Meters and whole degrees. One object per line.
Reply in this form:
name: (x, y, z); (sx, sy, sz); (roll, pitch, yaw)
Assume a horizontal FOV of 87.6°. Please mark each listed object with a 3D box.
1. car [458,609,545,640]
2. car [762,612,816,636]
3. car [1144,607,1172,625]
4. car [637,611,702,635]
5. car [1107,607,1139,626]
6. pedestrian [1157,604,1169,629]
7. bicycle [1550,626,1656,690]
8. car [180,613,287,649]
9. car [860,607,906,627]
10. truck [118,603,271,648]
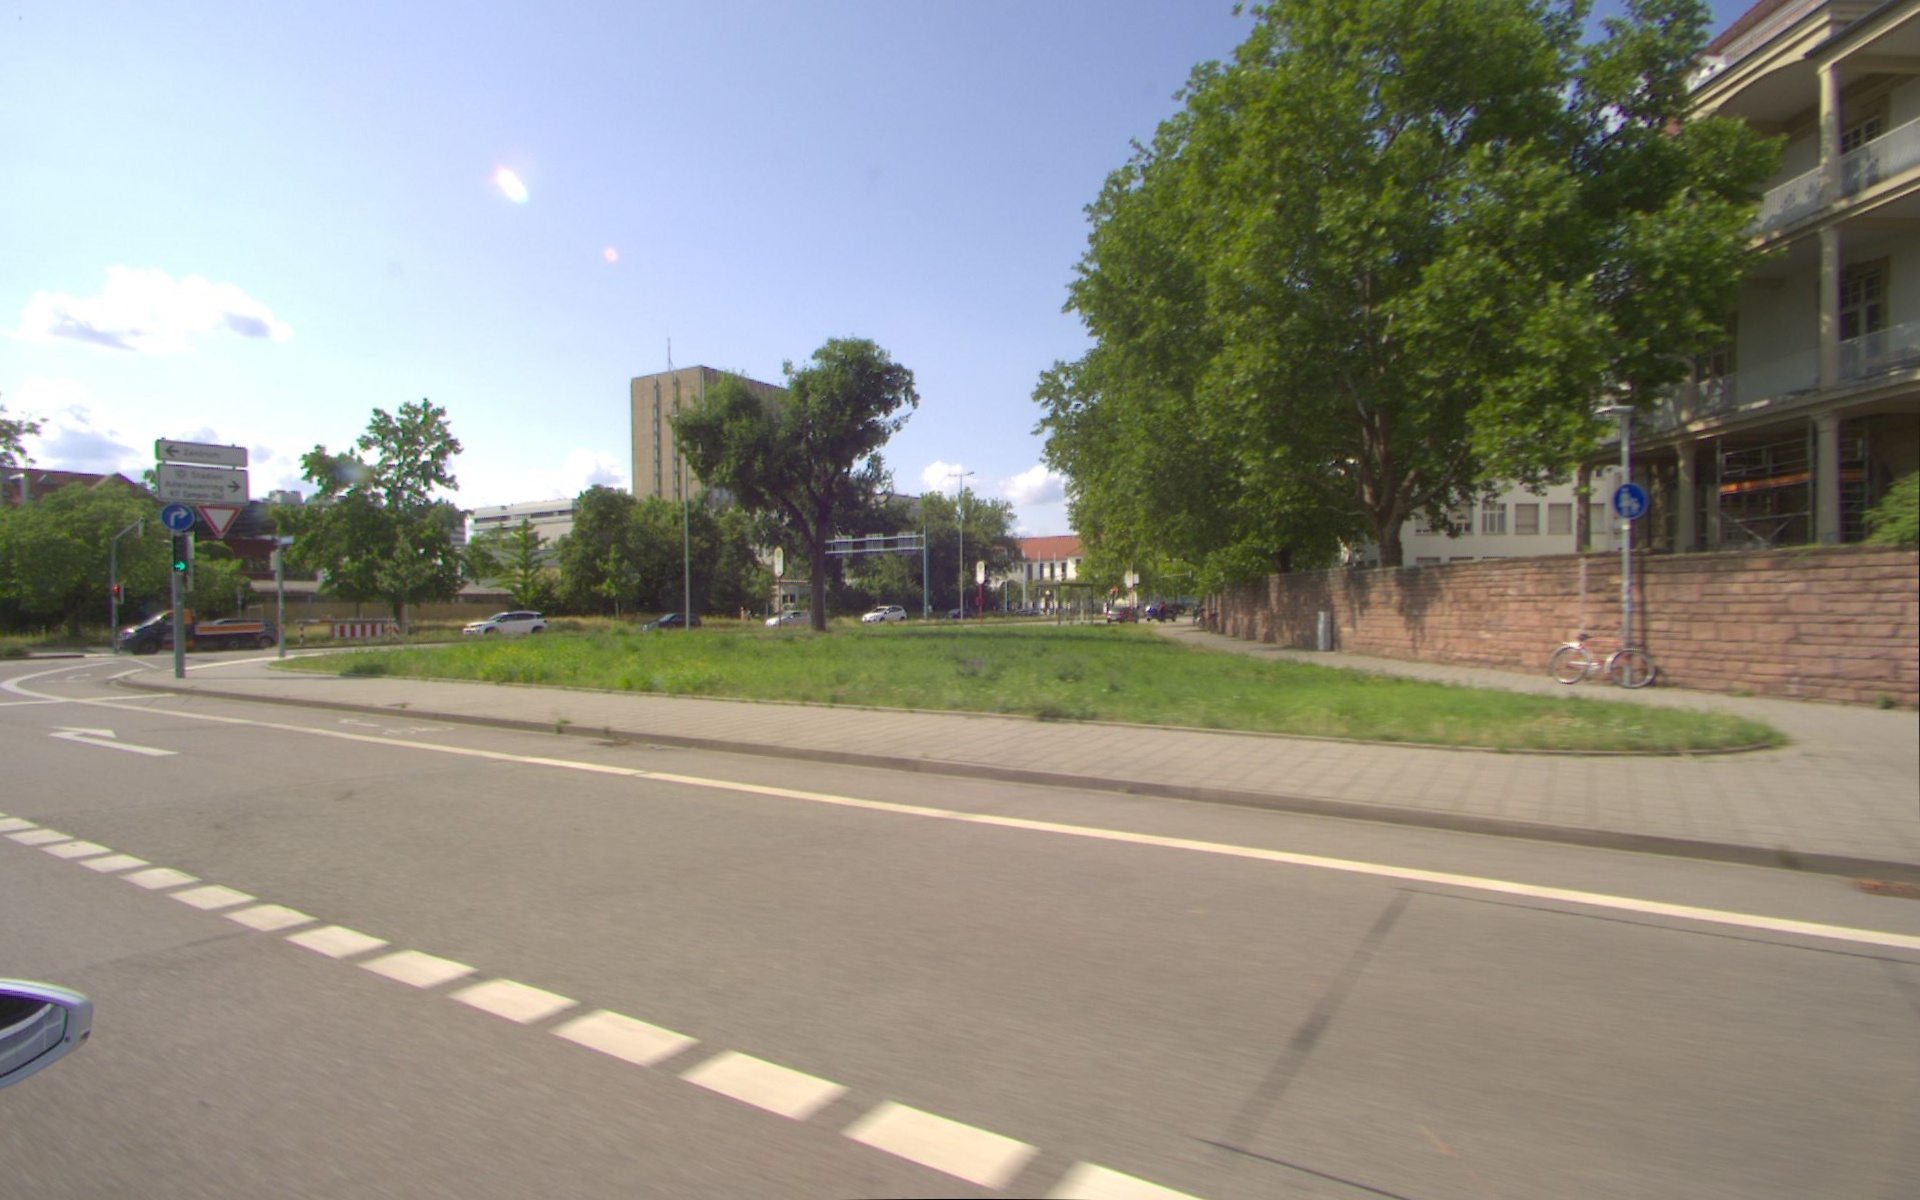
car: (-25.315, 1.317, 55.356); (1.604, 1.631, 4.138); (0, 0, 35)
car: (-12.548, 1.765, 73.708); (1.605, 1.631, 3.898); (0, 0, 36)
car: (18.864, 1.543, 95.273); (1.601, 1.631, 3.907); (0, 0, 28)
car: (-18.750, 1.444, 64.740); (1.604, 1.438, 3.899); (0, 0, 35)
car: (14.448, 1.461, 88.818); (1.601, 1.631, 3.907); (0, 0, 28)
pedestrian: (15.186, 1.223, 74.901); (0.891, 1.908, 0.945); (0, 1, 14)
bicycle: (11.020, 0.974, 17.217); (0.633, 0.987, 1.593); (-2, 1, -8)
car: (-34.968, 1.461, 48.260); (1.607, 1.631, 3.893); (0, 0, 40)
car: (-6.337, 1.380, 82.754); (1.604, 1.631, 3.995); (0, 0, 35)
truck: (-33.979, 1.078, 44.585); (1.977, 1.862, 5.091); (0, 0, 40)
